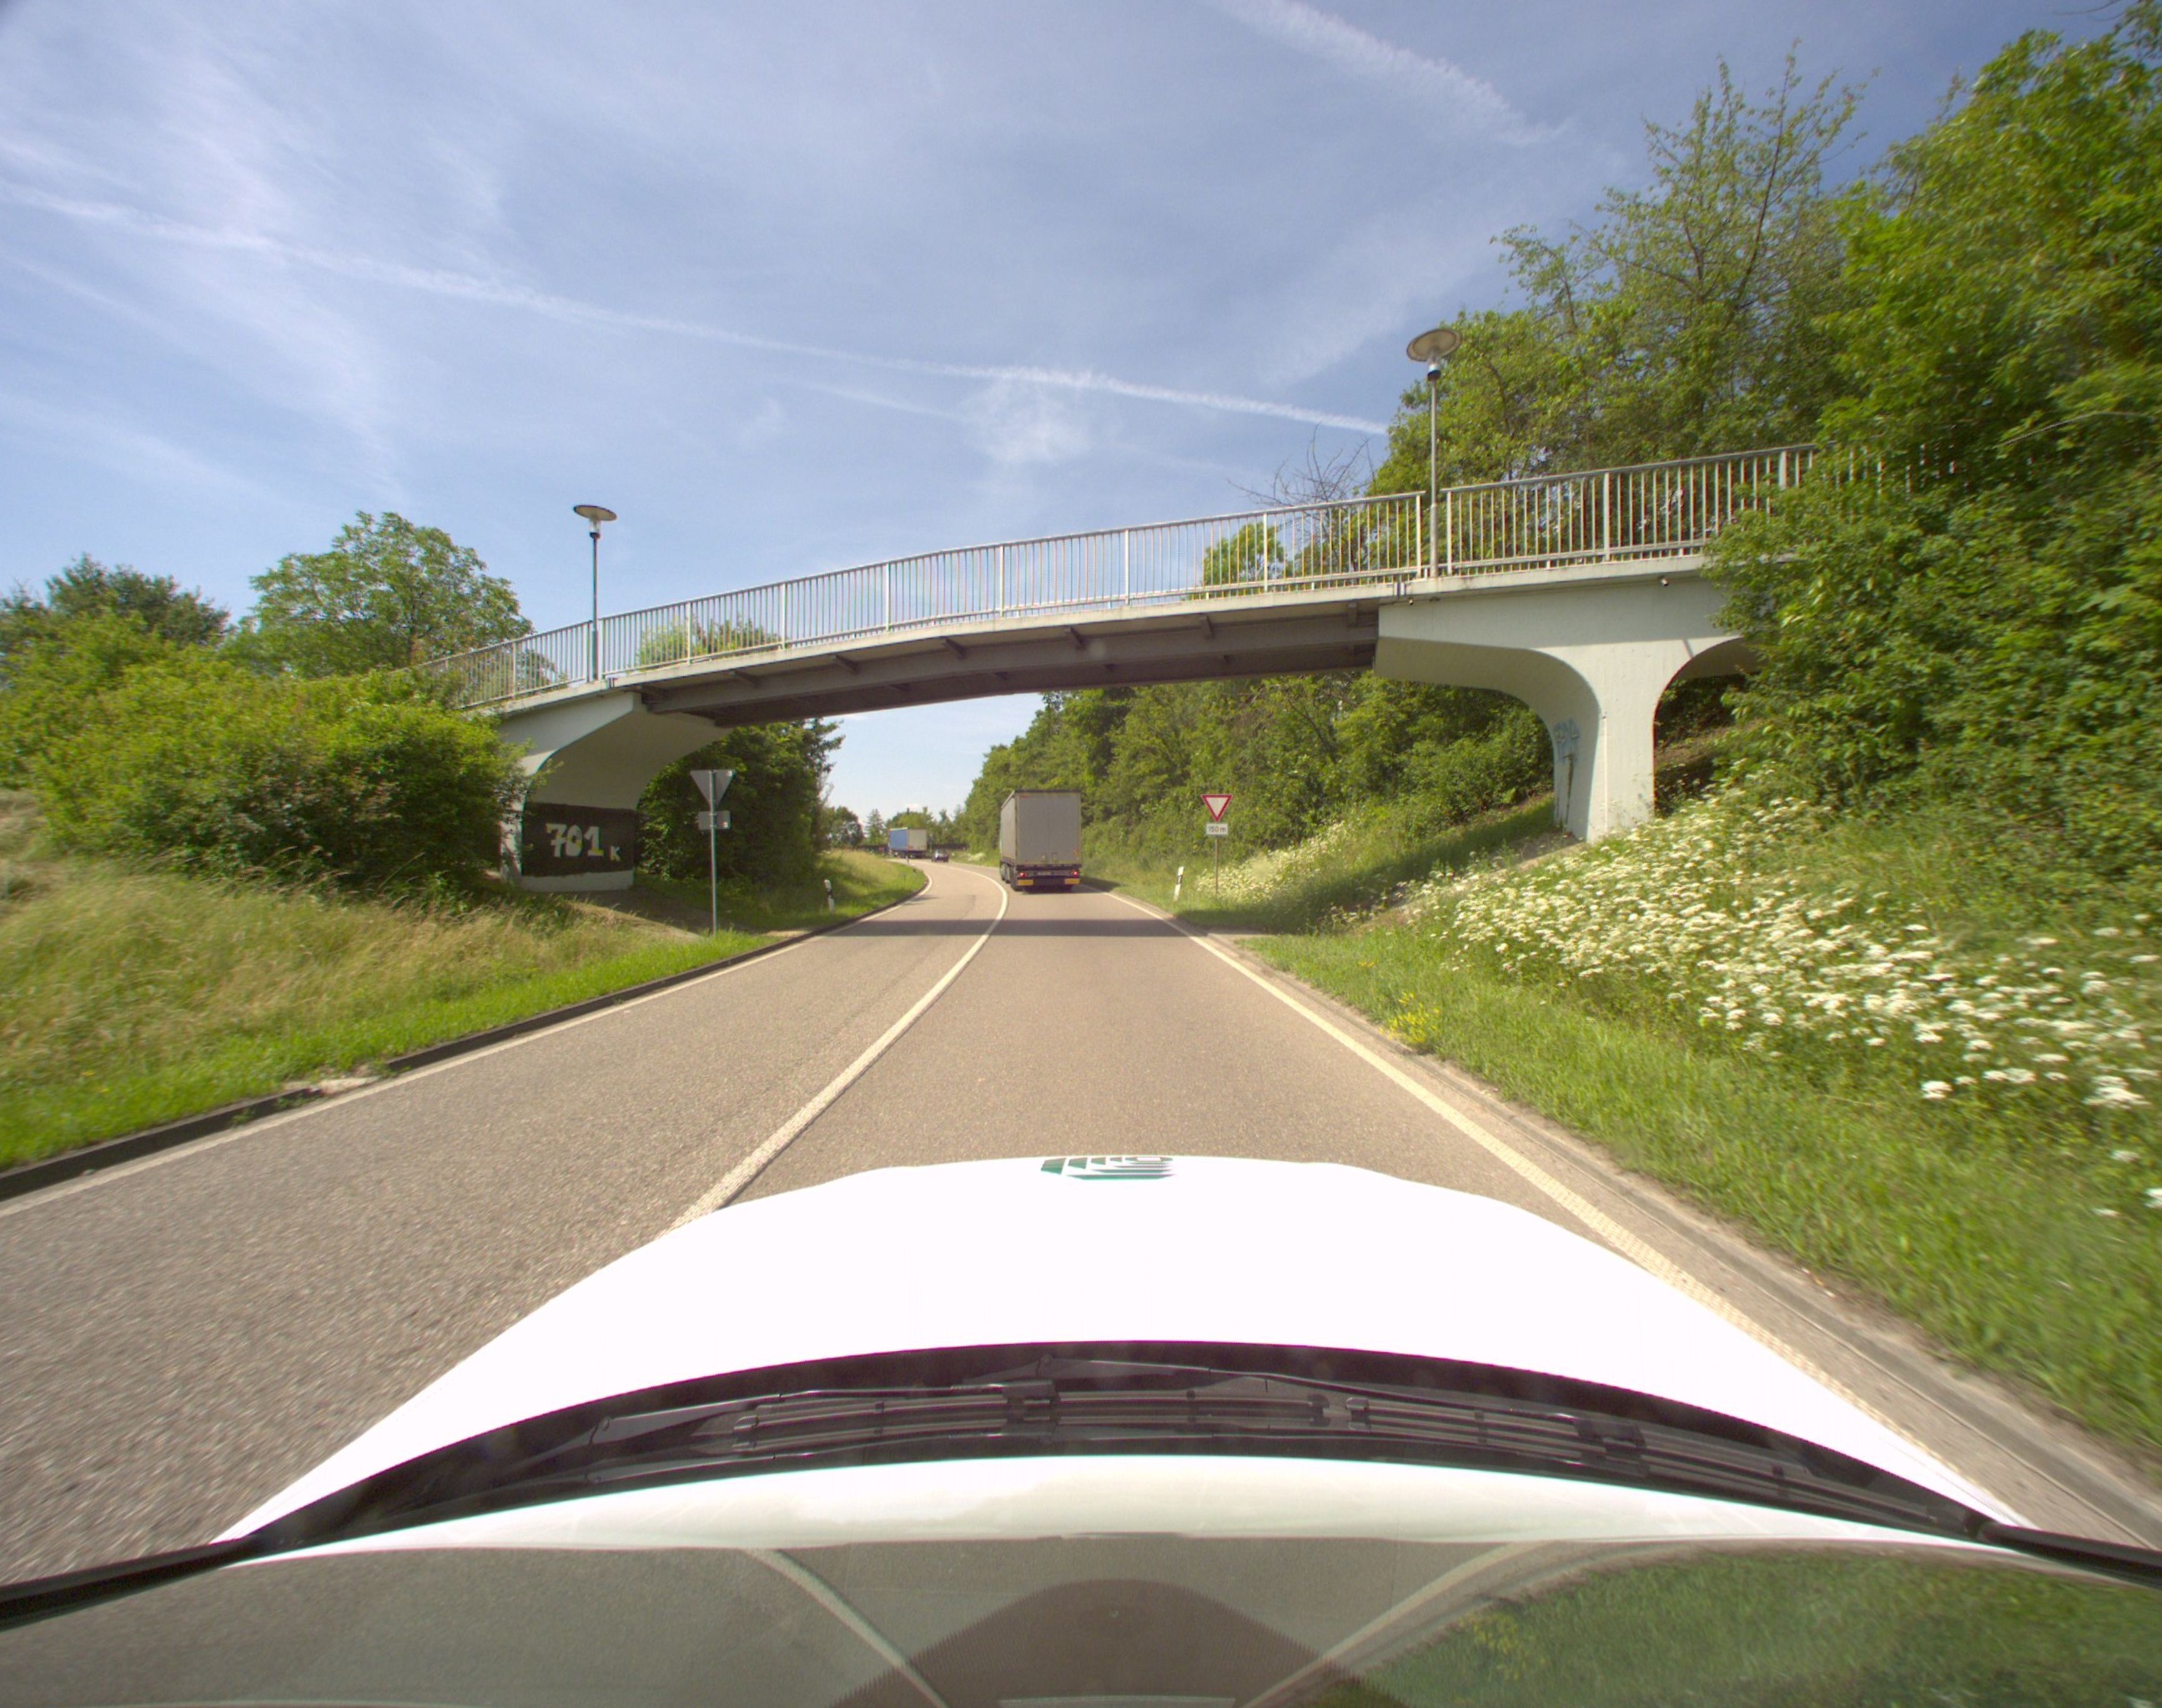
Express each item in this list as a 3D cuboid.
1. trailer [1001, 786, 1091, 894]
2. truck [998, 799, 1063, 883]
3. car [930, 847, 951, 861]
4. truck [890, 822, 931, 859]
[{"bbox_3d":[-1.961,-0.540,37.169,3.024,4.034,13.318,-1,0,-7],"label":"trailer"},{"bbox_3d":[-2.874,-0.655,44.390,3.150,4.224,7.105,0,0,-7],"label":"truck"},{"bbox_3d":[-16.528,-0.019,95.638,1.672,1.486,3.973,-1,1,-20],"label":"car"},{"bbox_3d":[-23.756,-1.821,112.500,3.839,4.744,16.106,-1,1,-18],"label":"truck"}]
